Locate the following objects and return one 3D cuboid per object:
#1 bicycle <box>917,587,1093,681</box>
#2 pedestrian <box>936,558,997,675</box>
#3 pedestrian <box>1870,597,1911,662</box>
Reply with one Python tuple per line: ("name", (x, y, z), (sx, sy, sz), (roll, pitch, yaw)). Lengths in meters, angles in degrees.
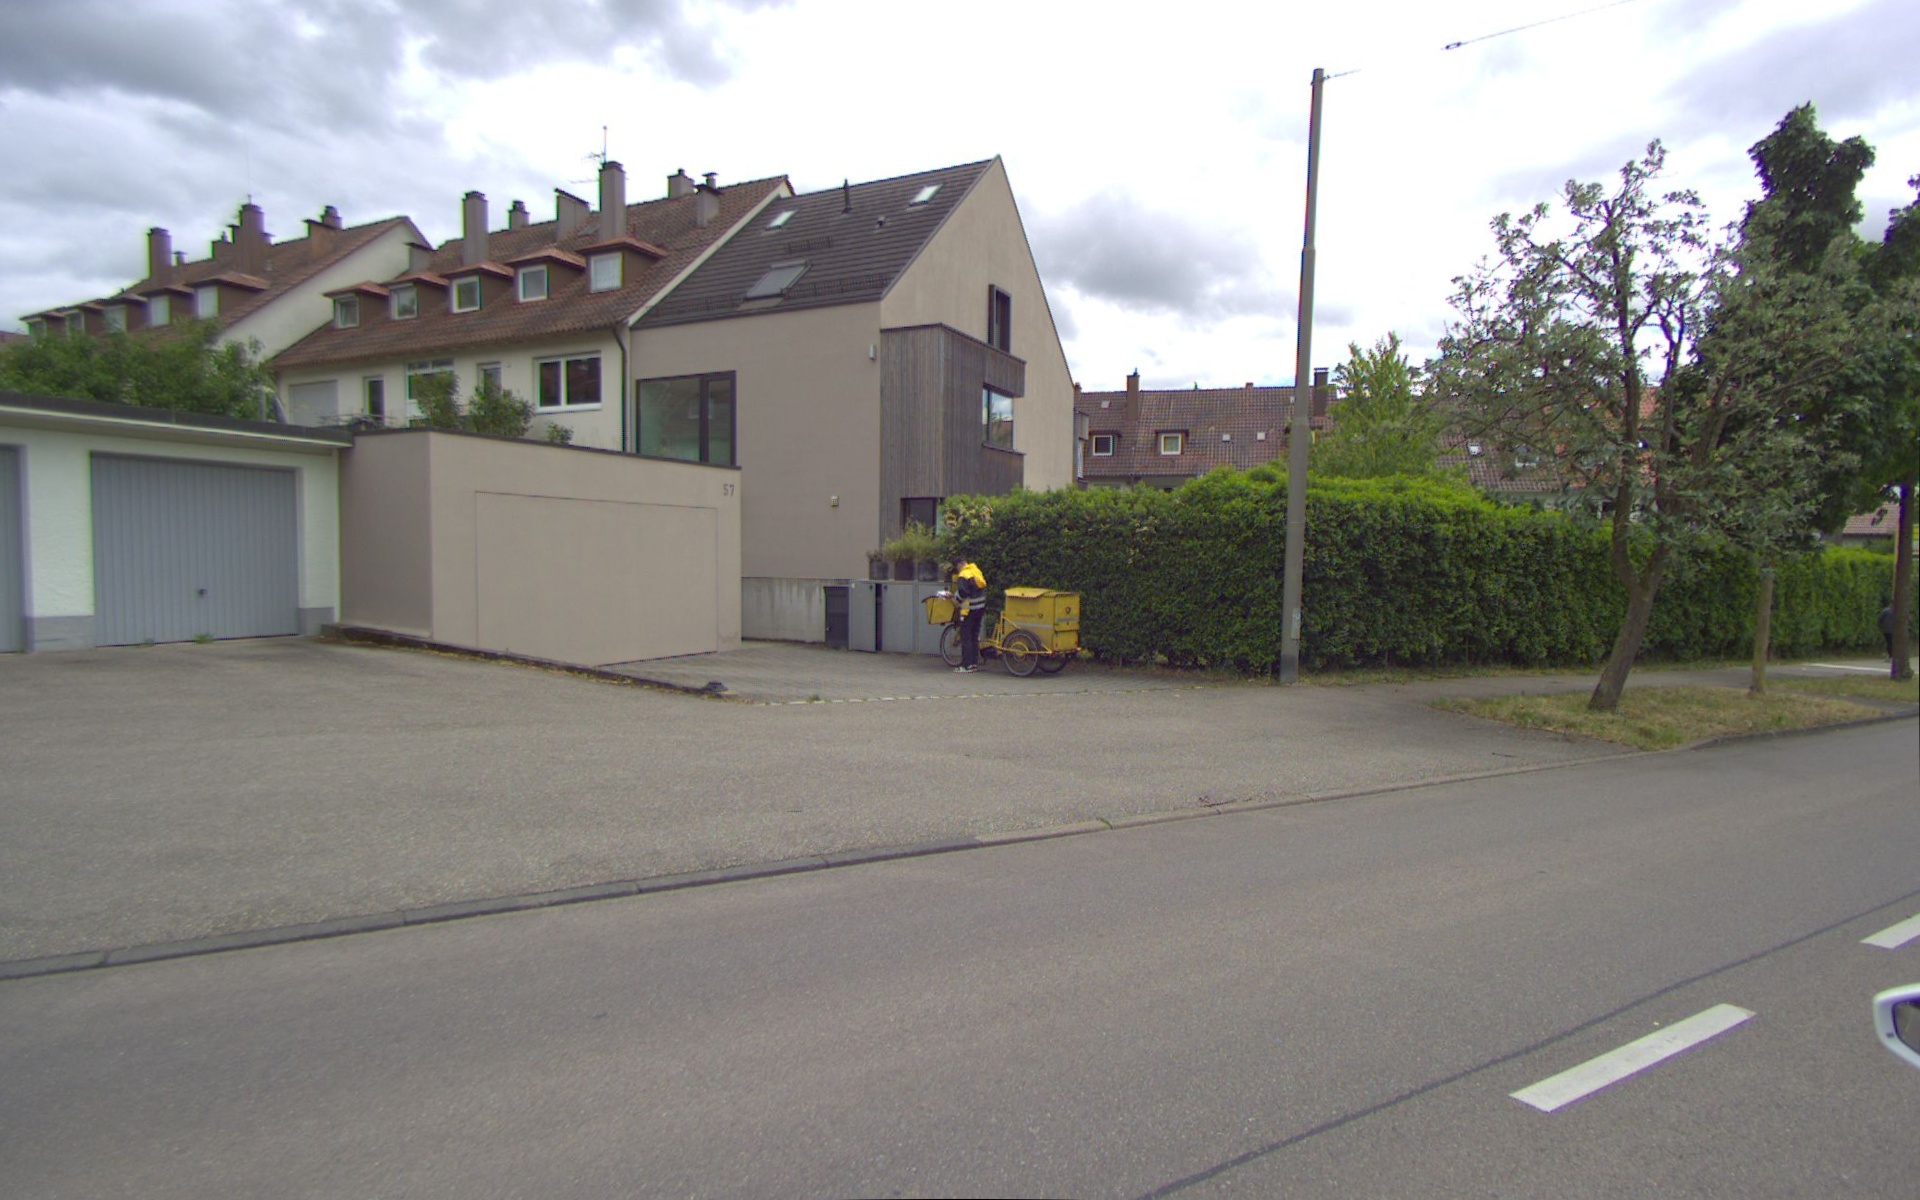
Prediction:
("bicycle", (0.636, 0.469, 15.043), (2.580, 1.221, 0.844), (3, 2, 37))
("pedestrian", (0.097, 0.238, 15.070), (0.632, 1.697, 0.600), (3, 2, 38))
("pedestrian", (25.683, 0.799, 27.731), (0.772, 1.734, 0.686), (1, 2, -40))
